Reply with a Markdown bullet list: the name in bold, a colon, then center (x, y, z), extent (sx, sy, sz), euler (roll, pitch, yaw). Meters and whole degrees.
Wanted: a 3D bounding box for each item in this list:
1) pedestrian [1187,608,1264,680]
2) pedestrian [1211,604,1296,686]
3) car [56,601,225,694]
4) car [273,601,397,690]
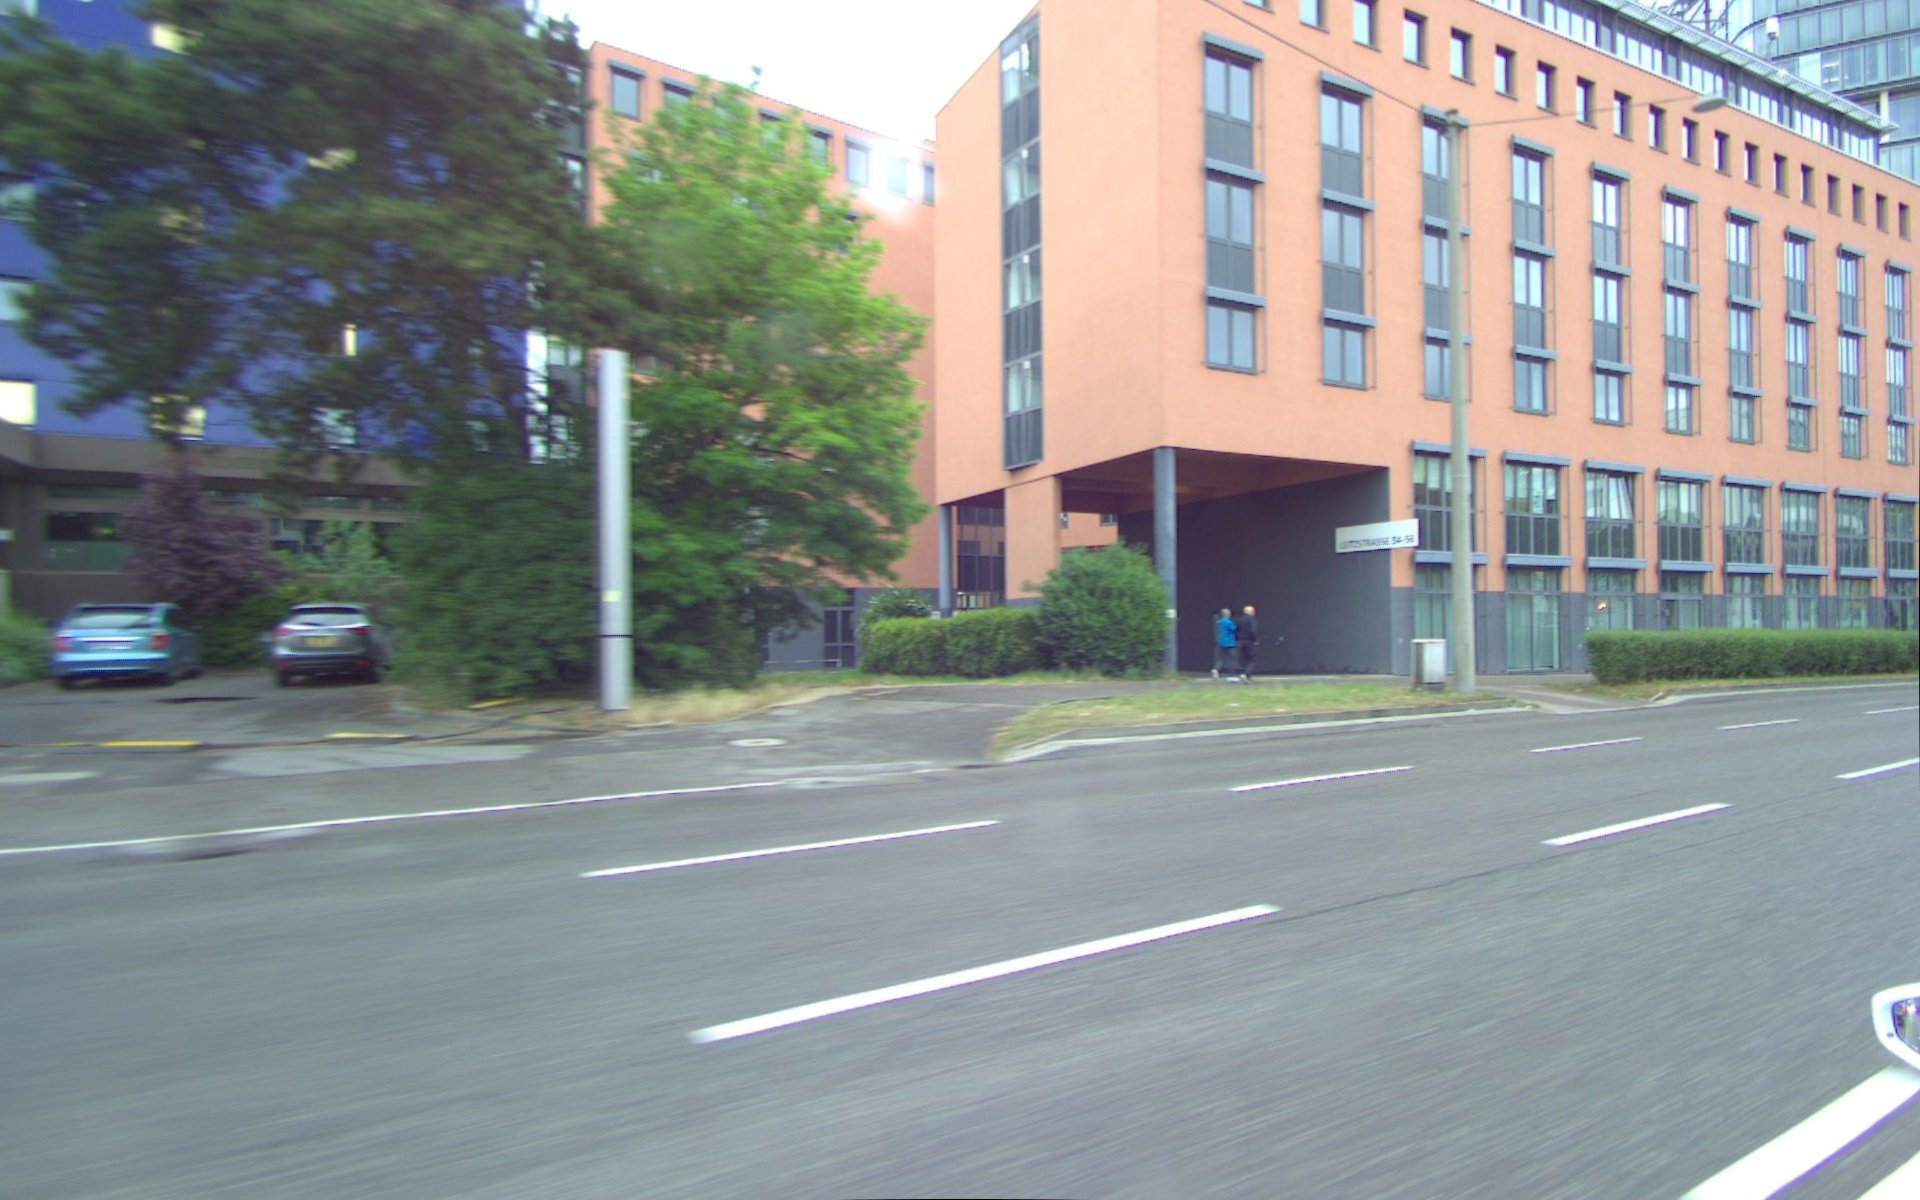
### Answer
- **pedestrian**: center (6.552, 1.105, 24.806), extent (1.401, 1.700, 1.202), euler (2, -5, -26)
- **pedestrian**: center (6.962, 1.096, 23.841), extent (1.420, 1.847, 1.311), euler (2, -5, -26)
- **car**: center (-16.833, 0.898, 20.867), extent (1.720, 1.727, 3.976), euler (0, 0, -24)
- **car**: center (-13.215, 0.929, 21.425), extent (1.793, 1.688, 3.399), euler (-1, -1, -25)
